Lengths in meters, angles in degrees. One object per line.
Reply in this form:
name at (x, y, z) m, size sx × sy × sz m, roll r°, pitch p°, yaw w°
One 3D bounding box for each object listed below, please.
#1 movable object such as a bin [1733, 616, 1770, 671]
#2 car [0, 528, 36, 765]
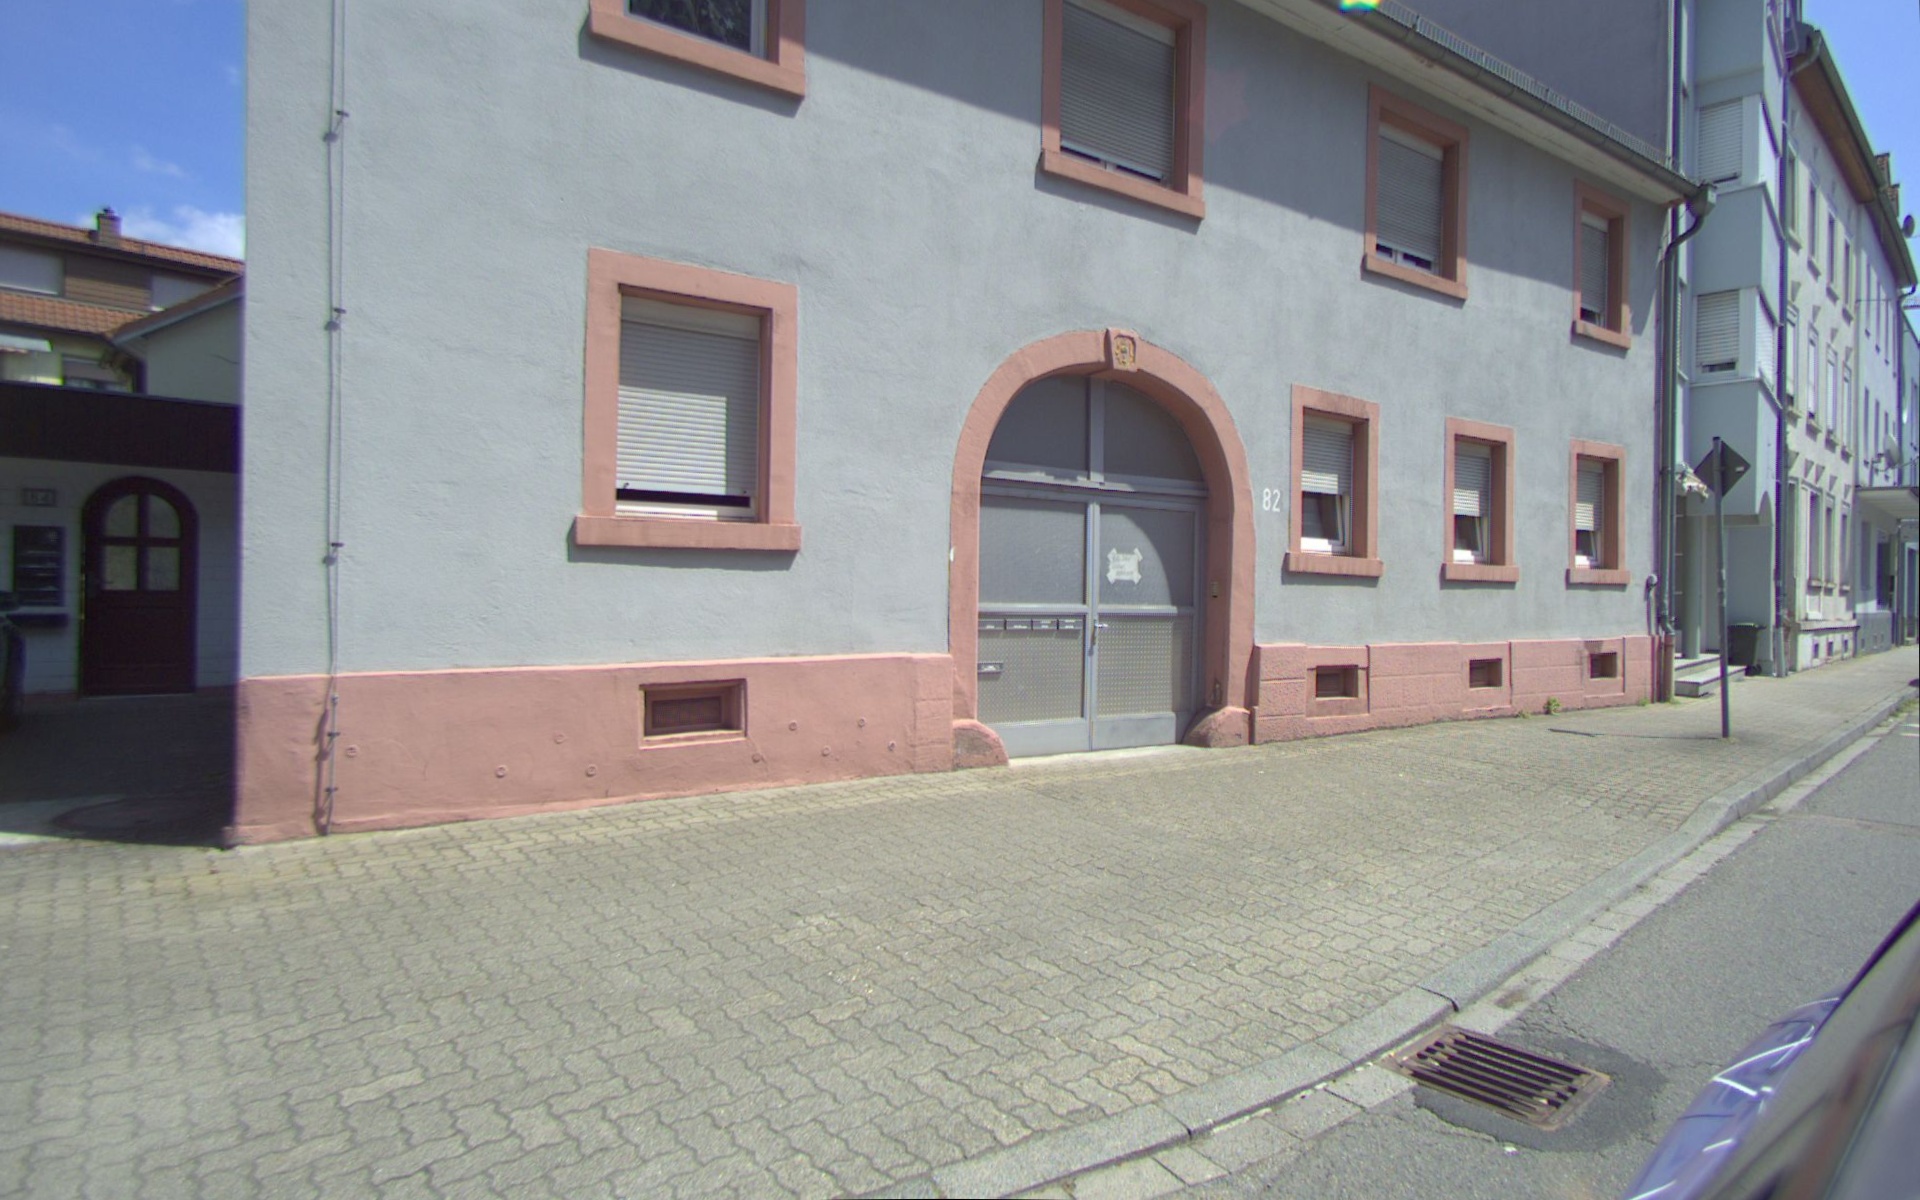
movable object such as a bin at (14.152, 0.773, 18.093) m, size 0.472 × 0.946 × 0.480 m, roll 2°, pitch 1°, yaw 41°
car at (-6.890, 0.330, 5.995) m, size 1.710 × 1.548 × 4.281 m, roll -2°, pitch 4°, yaw -38°
